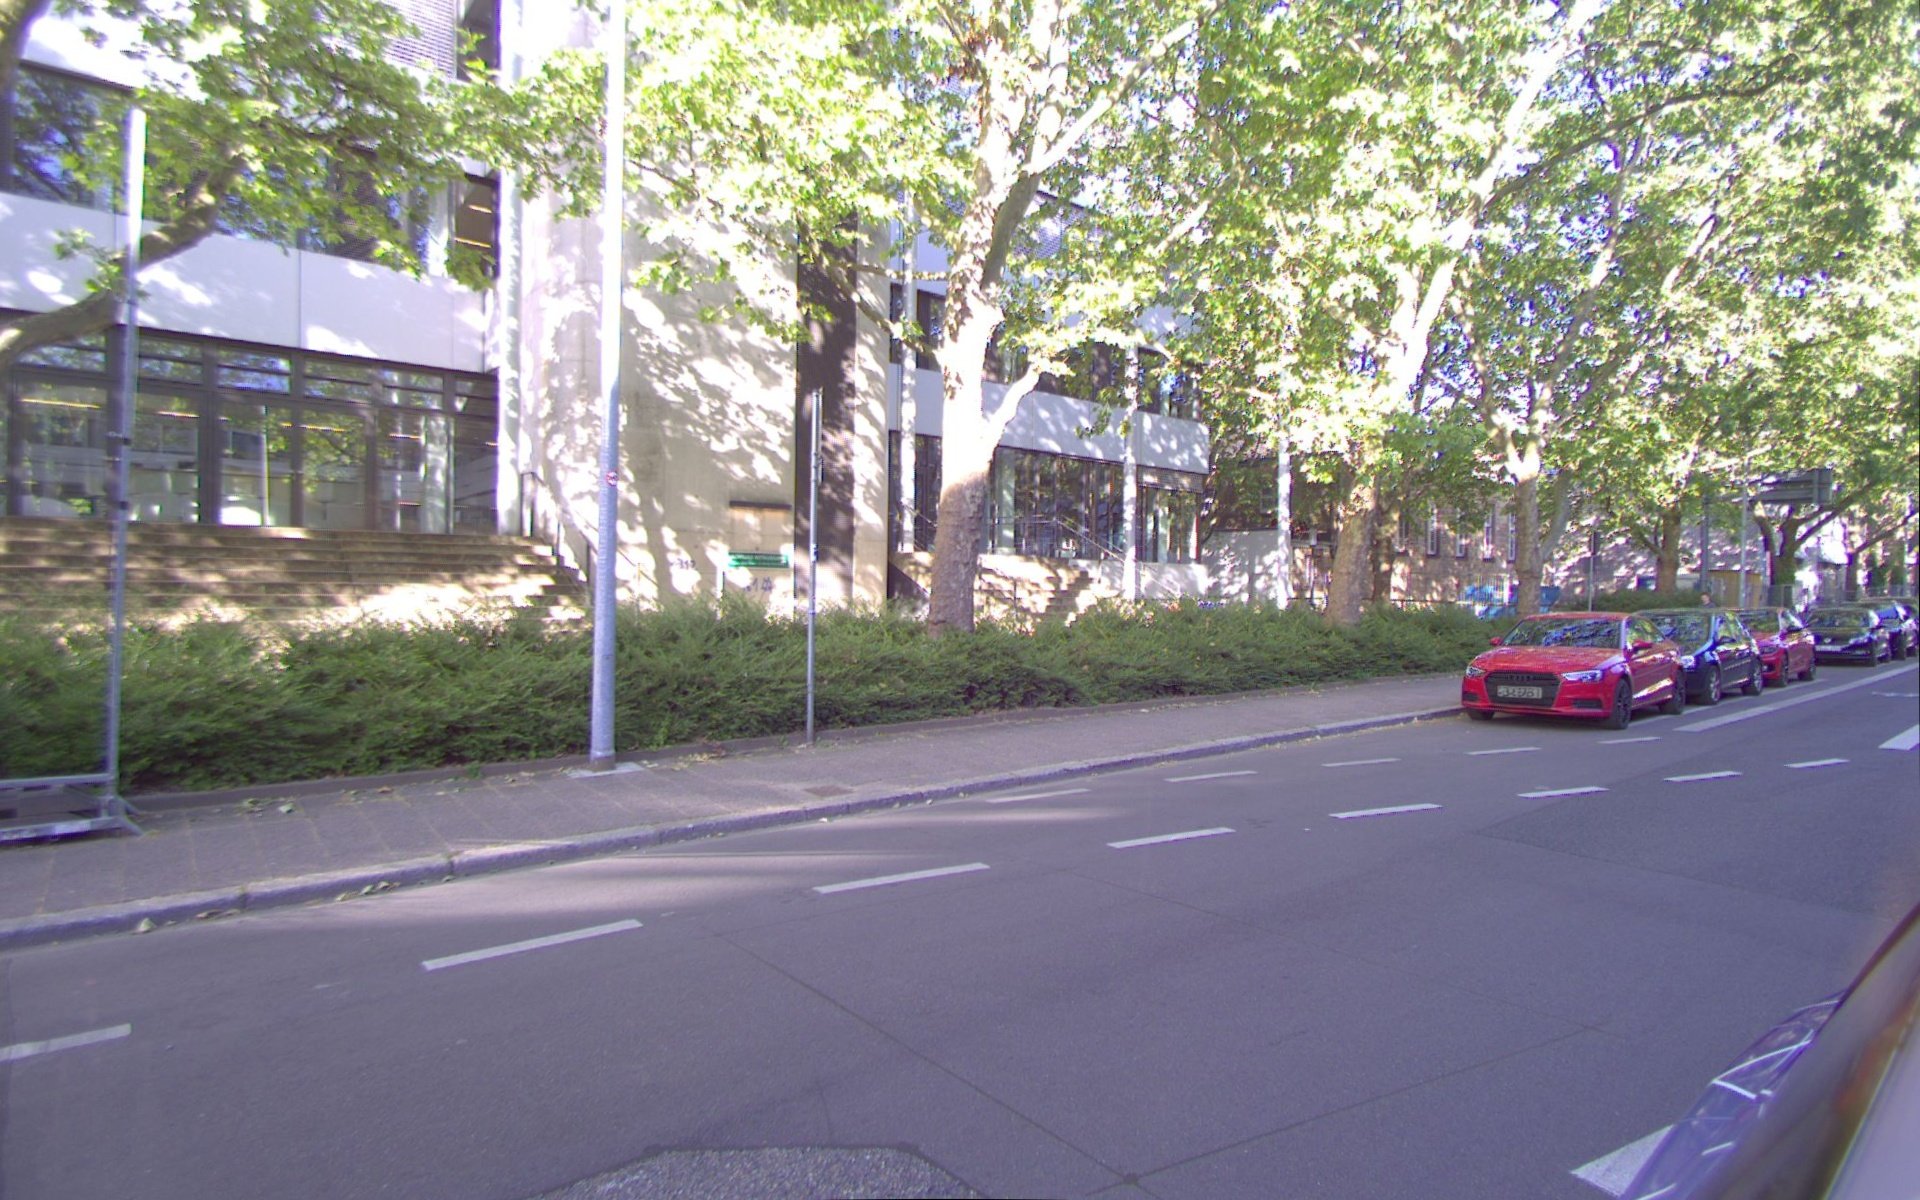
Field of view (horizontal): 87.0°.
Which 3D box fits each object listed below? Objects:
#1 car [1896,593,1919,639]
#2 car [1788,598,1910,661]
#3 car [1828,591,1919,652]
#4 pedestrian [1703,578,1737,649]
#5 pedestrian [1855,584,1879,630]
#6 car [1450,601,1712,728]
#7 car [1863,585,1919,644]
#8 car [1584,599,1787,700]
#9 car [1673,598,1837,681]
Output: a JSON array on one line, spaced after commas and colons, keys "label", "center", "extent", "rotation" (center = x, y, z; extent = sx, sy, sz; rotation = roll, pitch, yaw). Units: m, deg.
[{"label": "car", "center": [35.919, 0.577, 37.109], "extent": [4.183, 1.634, 1.834], "rotation": [0, 0, -40]}, {"label": "car", "center": [22.882, 0.699, 26.000], "extent": [4.095, 1.486, 1.834], "rotation": [0, 0, -41]}, {"label": "car", "center": [26.570, 0.569, 29.094], "extent": [4.088, 1.626, 1.834], "rotation": [0, 0, -40]}, {"label": "pedestrian", "center": [19.909, 0.345, 26.505], "extent": [0.583, 1.818, 0.600], "rotation": [0, 0, -41]}, {"label": "pedestrian", "center": [37.413, 0.276, 41.757], "extent": [0.629, 1.884, 0.660], "rotation": [0, 0, -41]}, {"label": "car", "center": [8.415, 0.733, 13.576], "extent": [4.173, 1.422, 1.834], "rotation": [0, 0, -41]}, {"label": "car", "center": [31.056, 0.435, 32.984], "extent": [4.383, 1.820, 1.834], "rotation": [0, 0, -40]}, {"label": "car", "center": [12.034, 0.716, 16.693], "extent": [4.095, 1.464, 1.834], "rotation": [0, 0, -41]}, {"label": "car", "center": [15.849, 0.706, 20.108], "extent": [4.095, 1.486, 1.834], "rotation": [0, 0, -41]}]
